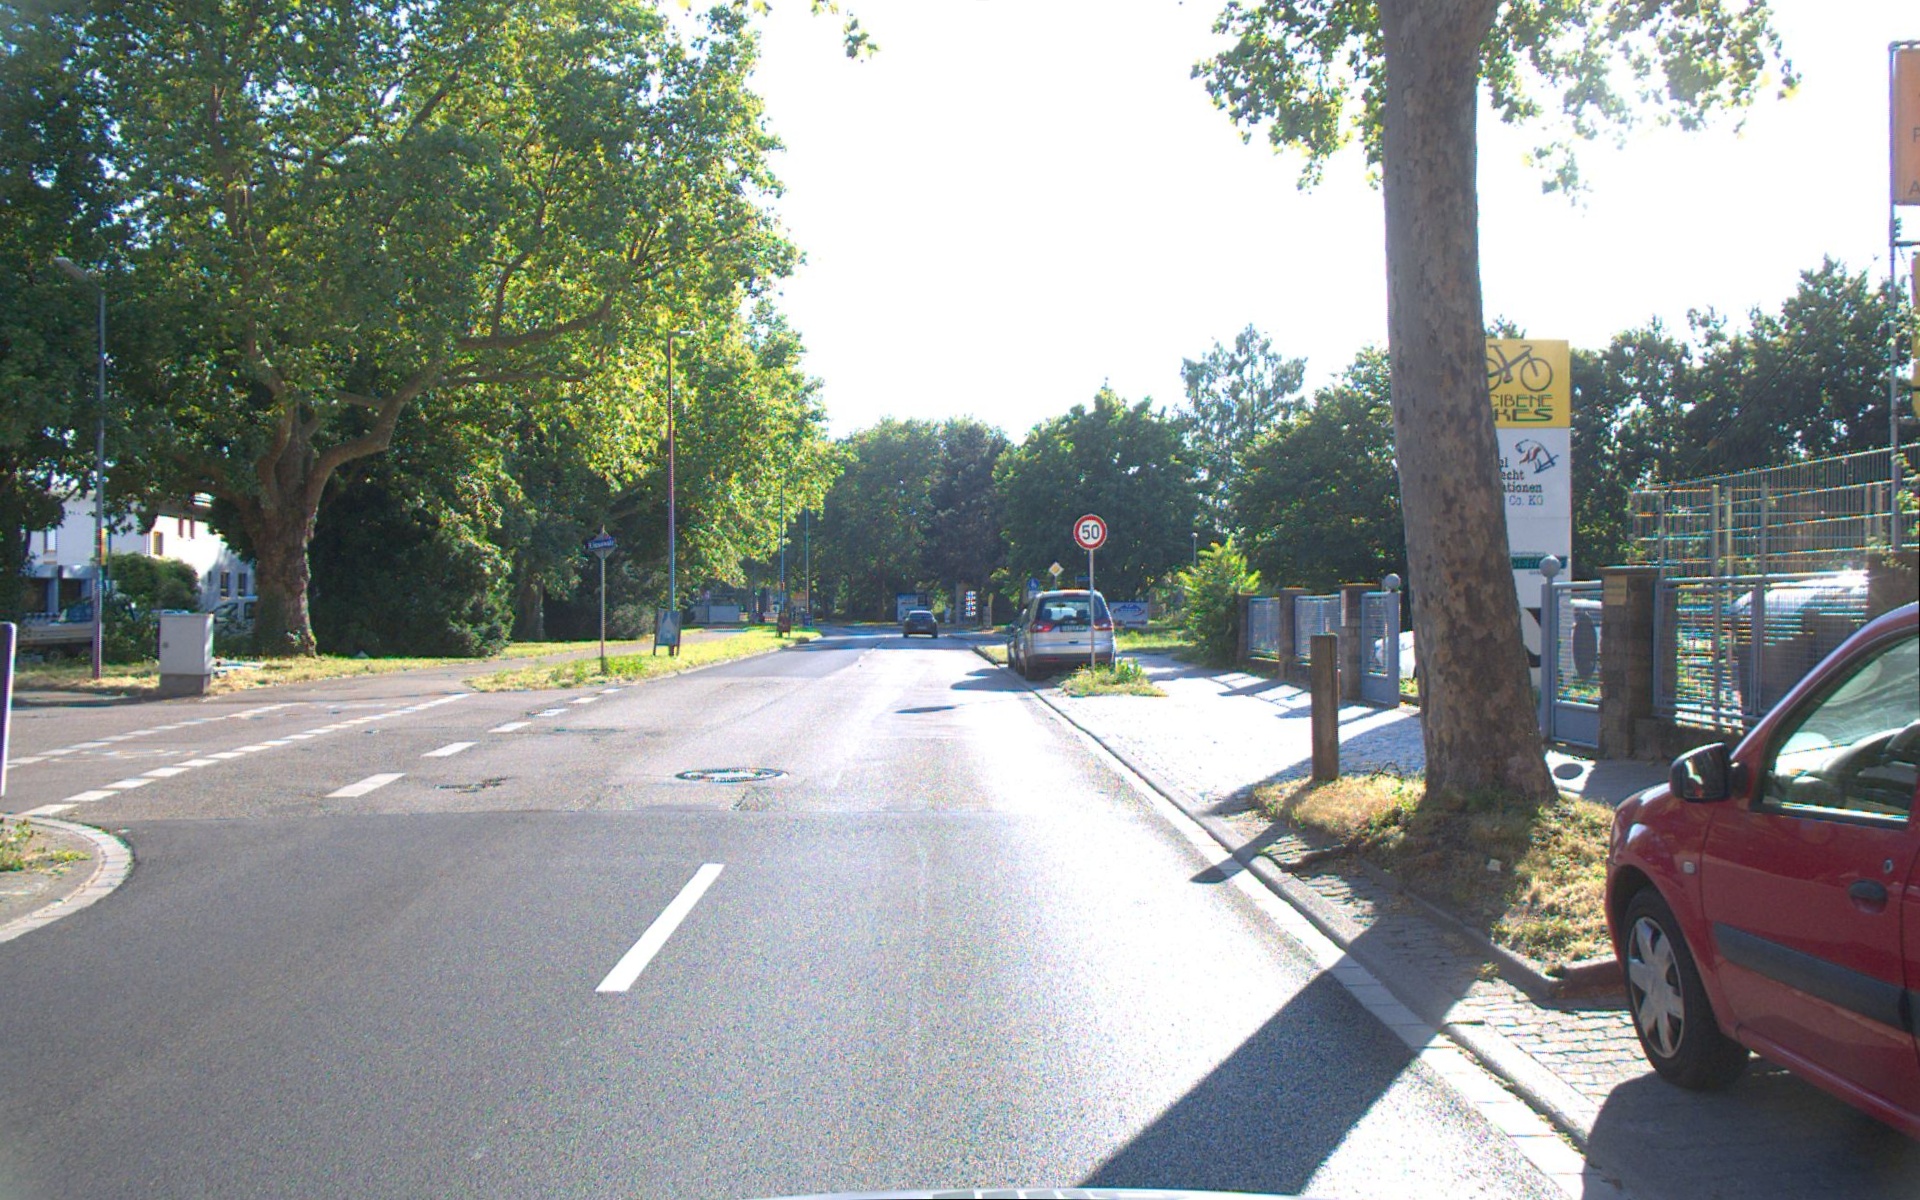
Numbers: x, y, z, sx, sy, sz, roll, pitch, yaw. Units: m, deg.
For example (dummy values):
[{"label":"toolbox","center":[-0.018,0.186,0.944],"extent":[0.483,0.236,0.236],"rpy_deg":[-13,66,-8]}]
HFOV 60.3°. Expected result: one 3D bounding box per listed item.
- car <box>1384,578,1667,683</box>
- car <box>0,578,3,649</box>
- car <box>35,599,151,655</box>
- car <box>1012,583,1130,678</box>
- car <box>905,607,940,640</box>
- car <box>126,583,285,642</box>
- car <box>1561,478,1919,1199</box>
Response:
[{"label":"car","center":[8.998,0.474,26.547],"extent":[3.905,1.587,1.841],"rpy_deg":[-1,0,0]},{"label":"car","center":[-33.802,0.454,53.730],"extent":[4.228,2.329,1.999],"rpy_deg":[0,0,-1]},{"label":"car","center":[-29.491,0.903,56.415],"extent":[1.855,1.771,4.173],"rpy_deg":[-2,0,-2]},{"label":"car","center":[2.205,0.587,34.231],"extent":[1.953,1.790,4.915],"rpy_deg":[-1,0,-2]},{"label":"car","center":[-1.984,1.227,87.375],"extent":[1.802,1.633,3.862],"rpy_deg":[-1,0,-1]},{"label":"car","center":[-22.375,0.374,49.156],"extent":[3.907,1.713,1.726],"rpy_deg":[0,0,-2]},{"label":"car","center":[2.894,0.580,3.608],"extent":[1.565,1.719,4.336],"rpy_deg":[-1,0,0]}]
